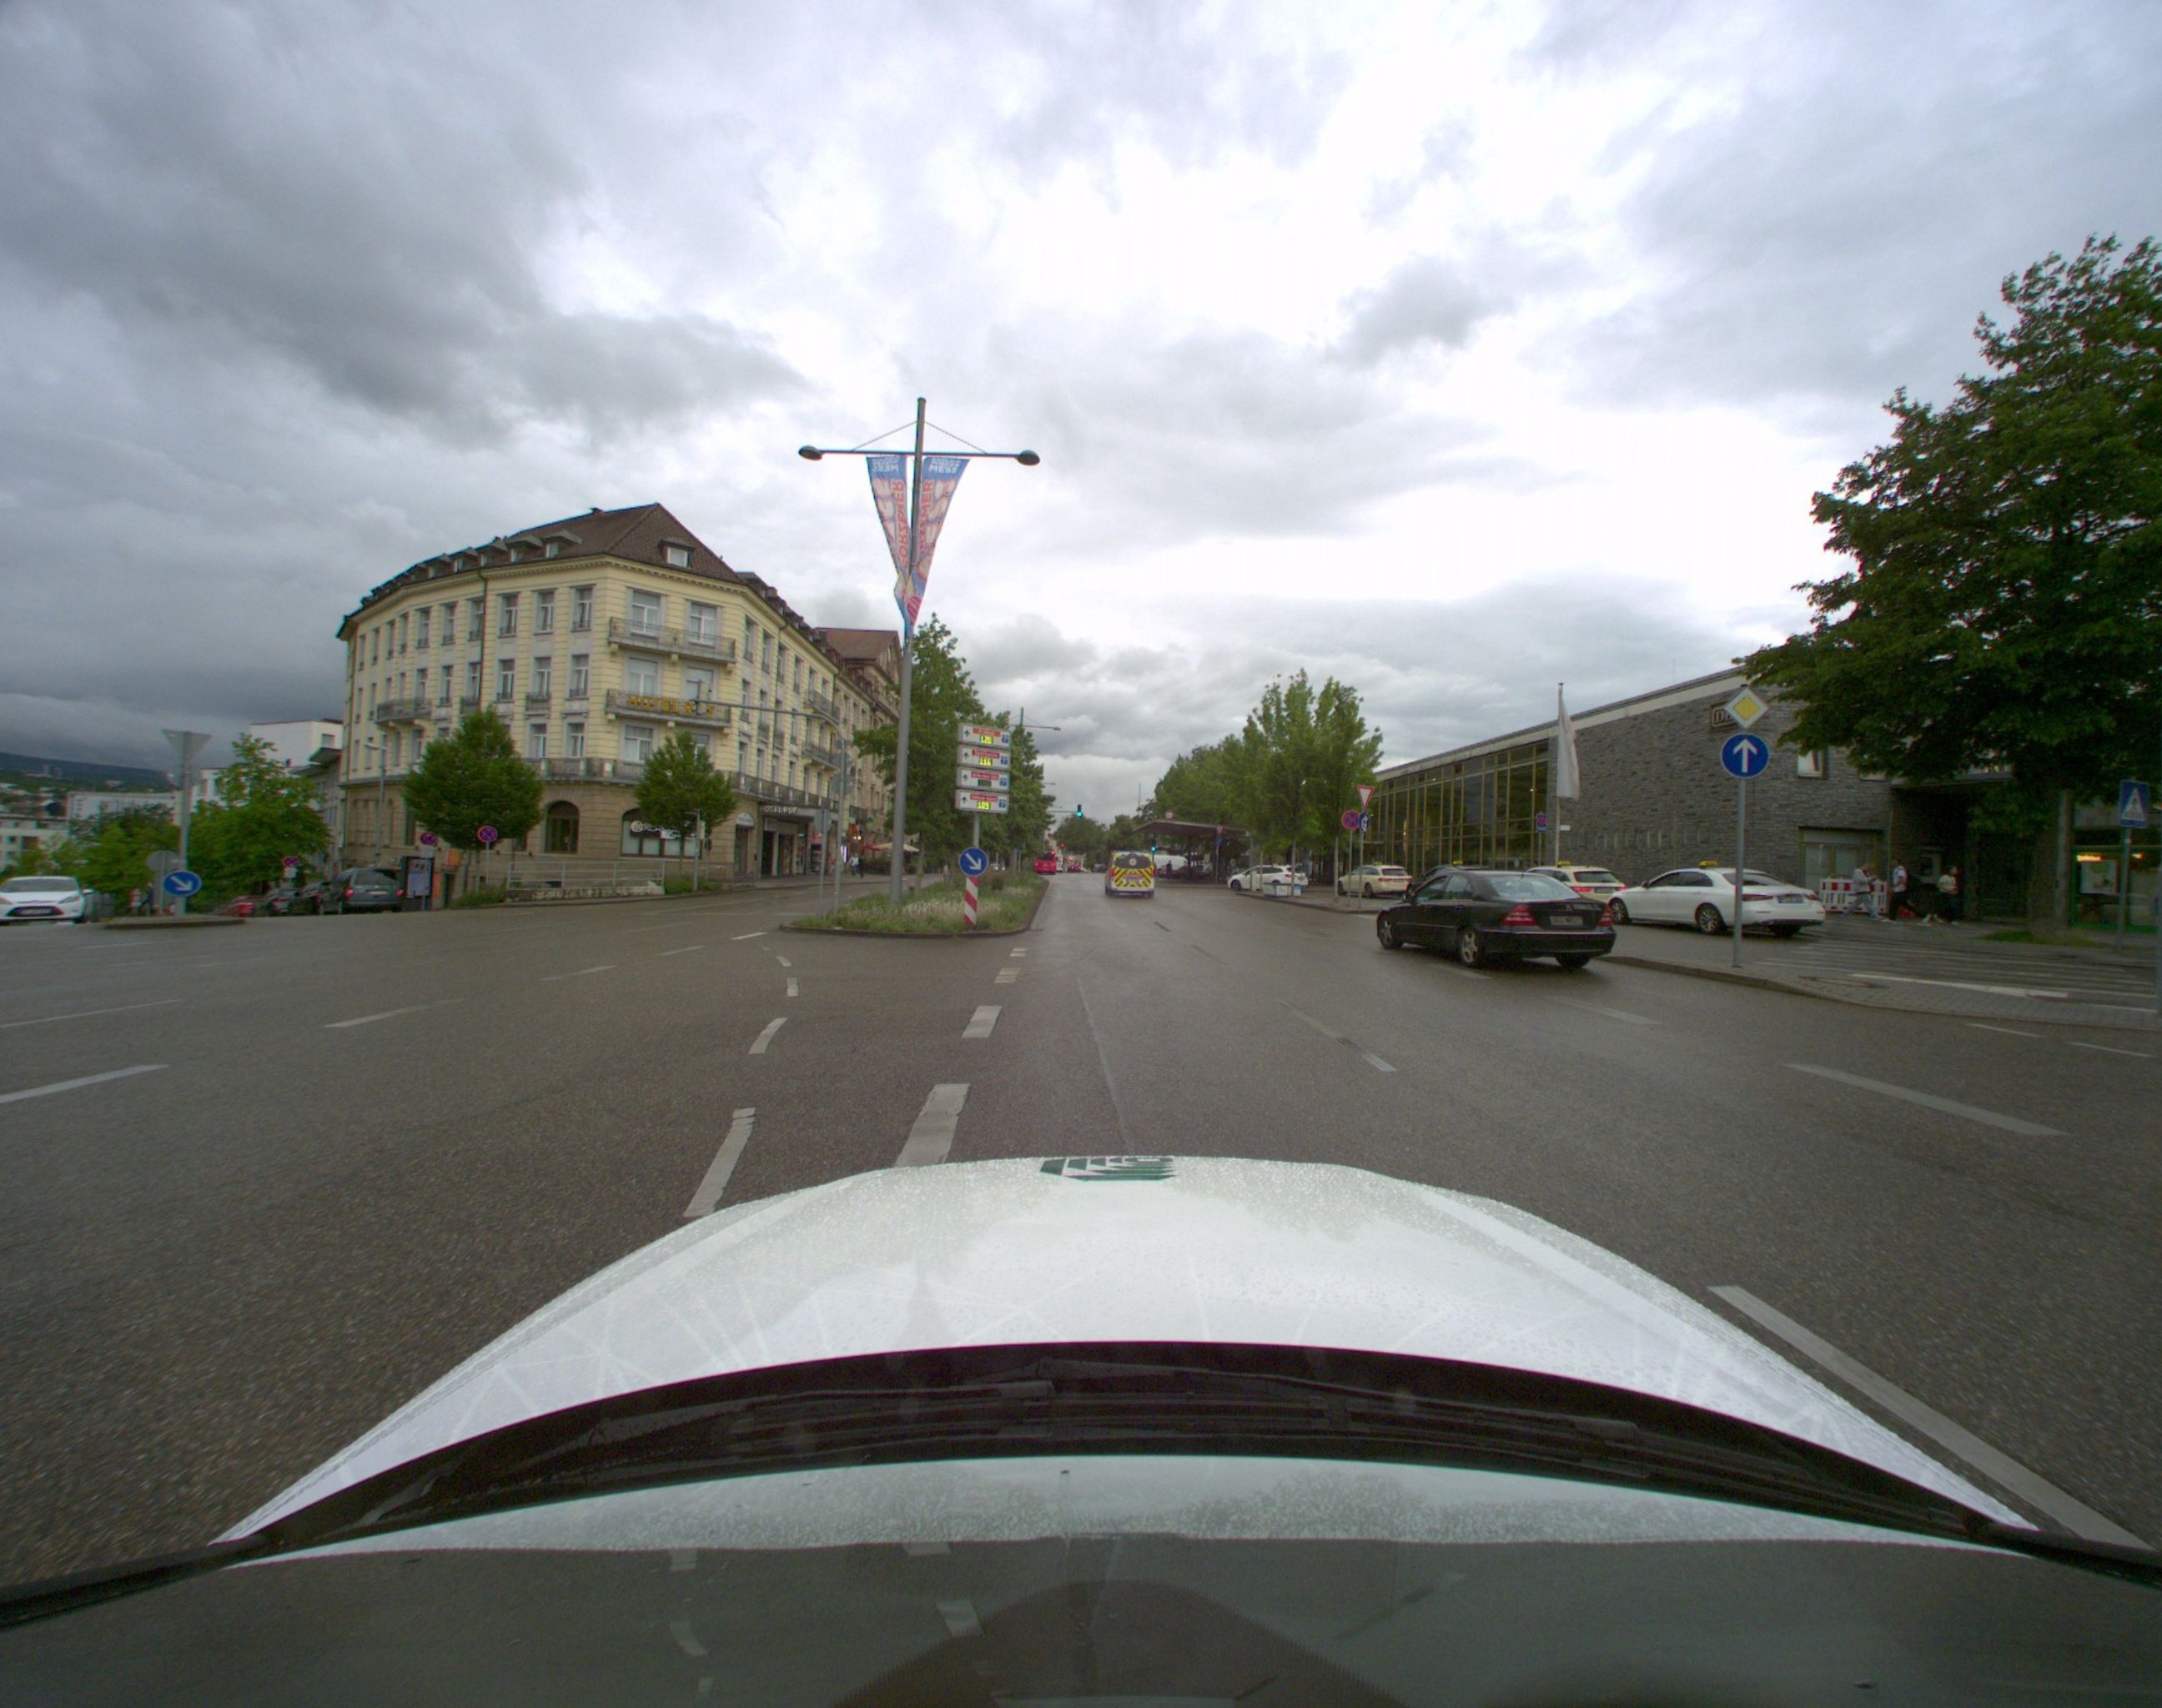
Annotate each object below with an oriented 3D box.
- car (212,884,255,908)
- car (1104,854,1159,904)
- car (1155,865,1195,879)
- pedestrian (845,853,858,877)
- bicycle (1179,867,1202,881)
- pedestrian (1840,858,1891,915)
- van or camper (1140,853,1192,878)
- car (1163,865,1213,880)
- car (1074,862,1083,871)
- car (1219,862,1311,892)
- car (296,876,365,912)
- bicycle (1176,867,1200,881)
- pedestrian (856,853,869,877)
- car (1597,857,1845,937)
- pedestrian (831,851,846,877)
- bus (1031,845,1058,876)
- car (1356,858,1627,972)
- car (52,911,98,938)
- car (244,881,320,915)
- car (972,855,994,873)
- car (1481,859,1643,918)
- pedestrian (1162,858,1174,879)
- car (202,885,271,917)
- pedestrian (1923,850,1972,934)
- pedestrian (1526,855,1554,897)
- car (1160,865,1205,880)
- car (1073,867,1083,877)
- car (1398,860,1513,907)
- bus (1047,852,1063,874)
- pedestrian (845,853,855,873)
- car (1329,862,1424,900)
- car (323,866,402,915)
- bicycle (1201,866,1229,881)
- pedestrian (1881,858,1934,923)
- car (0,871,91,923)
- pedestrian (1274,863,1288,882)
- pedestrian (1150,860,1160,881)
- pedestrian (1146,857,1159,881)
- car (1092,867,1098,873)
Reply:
[{"bbox_3d":[-57.685,2.830,55.420,3.948,1.478,1.781,-1,-1,40],"label":"car"},{"bbox_3d":[2.117,1.063,35.591,1.988,2.014,5.058,0,-1,-1],"label":"car"},{"bbox_3d":[10.087,1.913,87.298,4.009,1.443,1.848,2,-2,-28],"label":"car"},{"bbox_3d":[-16.079,0.799,57.140,0.679,1.664,0.807,0,-1,2],"label":"pedestrian"},{"bbox_3d":[8.617,1.591,64.259,1.833,1.056,0.417,0,-1,-20],"label":"bicycle"},{"bbox_3d":[22.074,0.918,22.927,0.704,1.580,0.773,-1,-1,9],"label":"pedestrian"},{"bbox_3d":[9.991,1.335,95.558,5.981,2.763,2.178,0,-1,-29],"label":"van or camper"},{"bbox_3d":[9.869,1.702,75.082,4.200,1.325,1.827,1,-2,-21],"label":"car"},{"bbox_3d":[-0.496,2.820,181.005,1.988,2.014,3.998,0,-1,-1],"label":"car"},{"bbox_3d":[9.899,1.225,44.064,1.773,1.546,4.720,2,-2,-41],"label":"car"},{"bbox_3d":[-32.985,1.710,35.772,3.948,1.398,1.645,0,-1,39],"label":"car"},{"bbox_3d":[8.497,1.600,64.703,1.833,1.056,0.417,0,-1,-20],"label":"bicycle"},{"bbox_3d":[-15.354,0.767,57.196,0.679,1.664,0.806,0,-1,-1],"label":"pedestrian"},{"bbox_3d":[14.552,0.912,18.988,1.874,1.599,4.900,0,-1,-1],"label":"car"},{"bbox_3d":[-17.010,0.707,57.109,0.877,1.813,0.750,0,-1,-2],"label":"pedestrian"},{"bbox_3d":[-5.106,0.924,112.506,3.537,3.980,11.157,0,-1,-3],"label":"bus"},{"bbox_3d":[6.121,0.829,12.851,1.692,1.466,4.442,0,-1,-6],"label":"car"},{"bbox_3d":[-73.919,5.164,59.817,3.948,1.684,2.013,-1,-1,37],"label":"car"},{"bbox_3d":[-37.628,2.031,38.330,3.948,1.478,1.781,-1,-1,34],"label":"car"},{"bbox_3d":[-11.833,1.224,98.335,1.987,2.014,5.000,0,-1,0],"label":"car"},{"bbox_3d":[14.455,0.973,24.880,1.988,1.599,4.956,0,-1,-1],"label":"car"},{"bbox_3d":[7.637,1.310,71.335,0.854,1.835,1.189,0,-2,-2],"label":"pedestrian"},{"bbox_3d":[-42.933,2.370,41.395,3.958,1.478,1.781,-1,-1,34],"label":"car"},{"bbox_3d":[23.054,0.993,21.672,0.800,2.164,0.715,0,-2,-32],"label":"pedestrian"},{"bbox_3d":[18.188,0.866,32.283,0.787,1.626,0.727,-2,-2,44],"label":"pedestrian"},{"bbox_3d":[9.826,1.764,78.746,4.013,1.359,1.846,2,-2,-32],"label":"car"},{"bbox_3d":[-0.661,3.592,165.348,1.988,2.014,3.998,0,-1,-1],"label":"car"},{"bbox_3d":[14.208,1.064,31.236,1.988,1.599,4.953,1,-1,-2],"label":"car"},{"bbox_3d":[-4.719,1.583,146.233,2.799,3.747,10.433,1,-1,-3],"label":"bus"},{"bbox_3d":[-18.885,0.752,66.583,0.666,1.664,0.535,0,-1,-10],"label":"pedestrian"},{"bbox_3d":[13.492,1.173,37.571,1.993,1.599,4.943,0,-1,-9],"label":"car"},{"bbox_3d":[-28.045,1.363,31.737,3.948,1.759,1.645,0,-1,39],"label":"car"},{"bbox_3d":[9.159,1.345,55.814,1.822,1.056,0.420,0,-1,-2],"label":"bicycle"},{"bbox_3d":[21.709,0.933,21.389,0.647,1.667,0.771,0,-1,-23],"label":"pedestrian"},{"bbox_3d":[-30.403,1.205,23.762,3.948,1.398,1.645,-1,-1,36],"label":"car"},{"bbox_3d":[16.876,1.587,68.816,0.864,1.559,0.812,0,-1,-8],"label":"pedestrian"},{"bbox_3d":[7.091,1.616,78.008,0.830,2.014,0.887,0,-1,-6],"label":"pedestrian"},{"bbox_3d":[5.204,1.124,59.428,0.746,1.747,0.833,1,-2,-9],"label":"pedestrian"},{"bbox_3d":[4.204,4.699,241.628,1.590,1.561,3.648,0,-1,-1],"label":"car"}]
